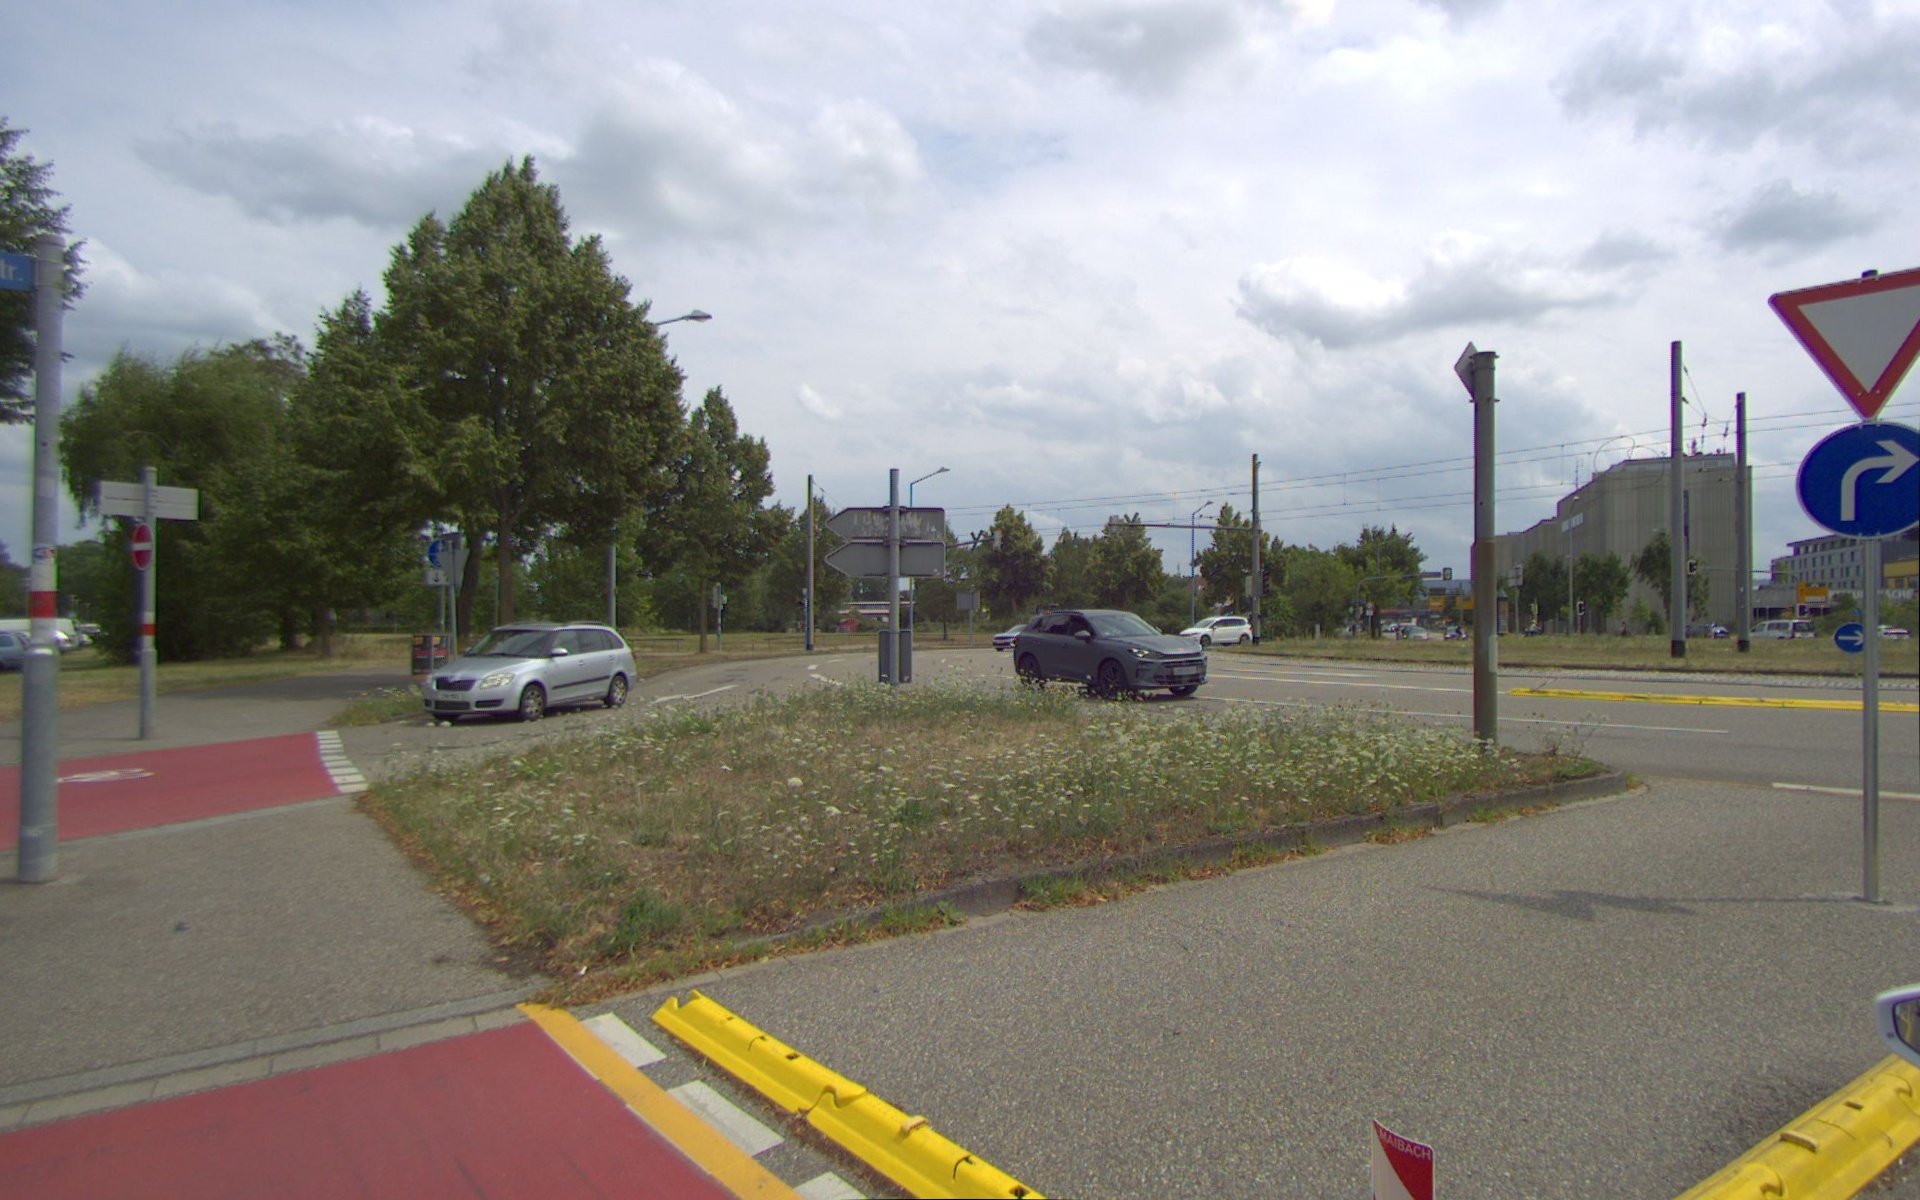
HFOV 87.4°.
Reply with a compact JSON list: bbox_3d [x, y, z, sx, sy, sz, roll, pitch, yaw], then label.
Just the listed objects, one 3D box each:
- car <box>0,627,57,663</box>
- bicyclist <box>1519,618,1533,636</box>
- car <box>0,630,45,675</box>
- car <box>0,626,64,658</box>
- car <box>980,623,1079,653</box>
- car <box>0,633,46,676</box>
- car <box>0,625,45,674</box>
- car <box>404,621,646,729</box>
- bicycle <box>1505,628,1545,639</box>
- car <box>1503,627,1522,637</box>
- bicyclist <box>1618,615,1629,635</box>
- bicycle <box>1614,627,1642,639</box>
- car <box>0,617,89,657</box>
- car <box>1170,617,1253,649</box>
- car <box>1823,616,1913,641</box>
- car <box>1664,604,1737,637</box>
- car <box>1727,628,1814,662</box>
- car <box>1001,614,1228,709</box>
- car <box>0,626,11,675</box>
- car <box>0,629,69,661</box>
[{"bbox_3d":[-41.418,1.900,42.704,4.350,1.491,1.812,1,-1,-39],"label":"car"},{"bbox_3d":[44.265,2.099,78.565,0.660,1.428,0.864,0,-1,4],"label":"bicyclist"},{"bbox_3d":[-33.824,1.758,33.424,4.847,1.491,1.812,1,-1,-39],"label":"car"},{"bbox_3d":[-44.640,1.941,46.724,4.275,1.491,1.812,1,-1,-39],"label":"car"},{"bbox_3d":[3.618,1.937,52.014,5.137,1.502,1.979,1,-1,-38],"label":"car"},{"bbox_3d":[-35.404,1.922,35.198,4.847,1.491,1.812,1,-1,-39],"label":"car"},{"bbox_3d":[-31.883,1.614,31.483,4.671,1.491,1.811,-2,1,-42],"label":"car"},{"bbox_3d":[-6.919,1.112,16.520,1.596,1.539,4.221,0,-1,10],"label":"car"},{"bbox_3d":[44.174,2.619,78.562,2.605,0.866,0.864,0,-1,4],"label":"bicycle"},{"bbox_3d":[87.090,4.962,158.248,1.866,1.539,4.001,0,-1,18],"label":"car"},{"bbox_3d":[51.835,1.957,78.469,0.641,1.579,0.528,-1,-1,40],"label":"bicyclist"},{"bbox_3d":[52.045,2.545,78.283,1.807,0.889,0.528,-1,-1,40],"label":"bicycle"},{"bbox_3d":[-49.360,1.919,52.680,5.527,2.083,2.175,1,-1,-41],"label":"car"},{"bbox_3d":[14.161,1.851,56.545,4.297,1.687,1.926,-1,-1,-26],"label":"car"},{"bbox_3d":[57.388,1.784,63.579,1.800,1.483,3.995,2,-1,-8],"label":"car"},{"bbox_3d":[48.147,1.320,65.421,1.960,2.040,4.002,2,-1,5],"label":"car"},{"bbox_3d":[53.061,2.929,65.855,1.962,2.040,4.358,2,-1,-6],"label":"car"},{"bbox_3d":[2.785,1.073,19.209,2.039,1.572,4.441,0,-1,-29],"label":"car"},{"bbox_3d":[-30.097,1.559,29.707,1.464,1.442,2.898,-2,0,44],"label":"car"},{"bbox_3d":[-46.207,2.188,48.795,4.275,1.491,1.812,1,-1,-39],"label":"car"}]
